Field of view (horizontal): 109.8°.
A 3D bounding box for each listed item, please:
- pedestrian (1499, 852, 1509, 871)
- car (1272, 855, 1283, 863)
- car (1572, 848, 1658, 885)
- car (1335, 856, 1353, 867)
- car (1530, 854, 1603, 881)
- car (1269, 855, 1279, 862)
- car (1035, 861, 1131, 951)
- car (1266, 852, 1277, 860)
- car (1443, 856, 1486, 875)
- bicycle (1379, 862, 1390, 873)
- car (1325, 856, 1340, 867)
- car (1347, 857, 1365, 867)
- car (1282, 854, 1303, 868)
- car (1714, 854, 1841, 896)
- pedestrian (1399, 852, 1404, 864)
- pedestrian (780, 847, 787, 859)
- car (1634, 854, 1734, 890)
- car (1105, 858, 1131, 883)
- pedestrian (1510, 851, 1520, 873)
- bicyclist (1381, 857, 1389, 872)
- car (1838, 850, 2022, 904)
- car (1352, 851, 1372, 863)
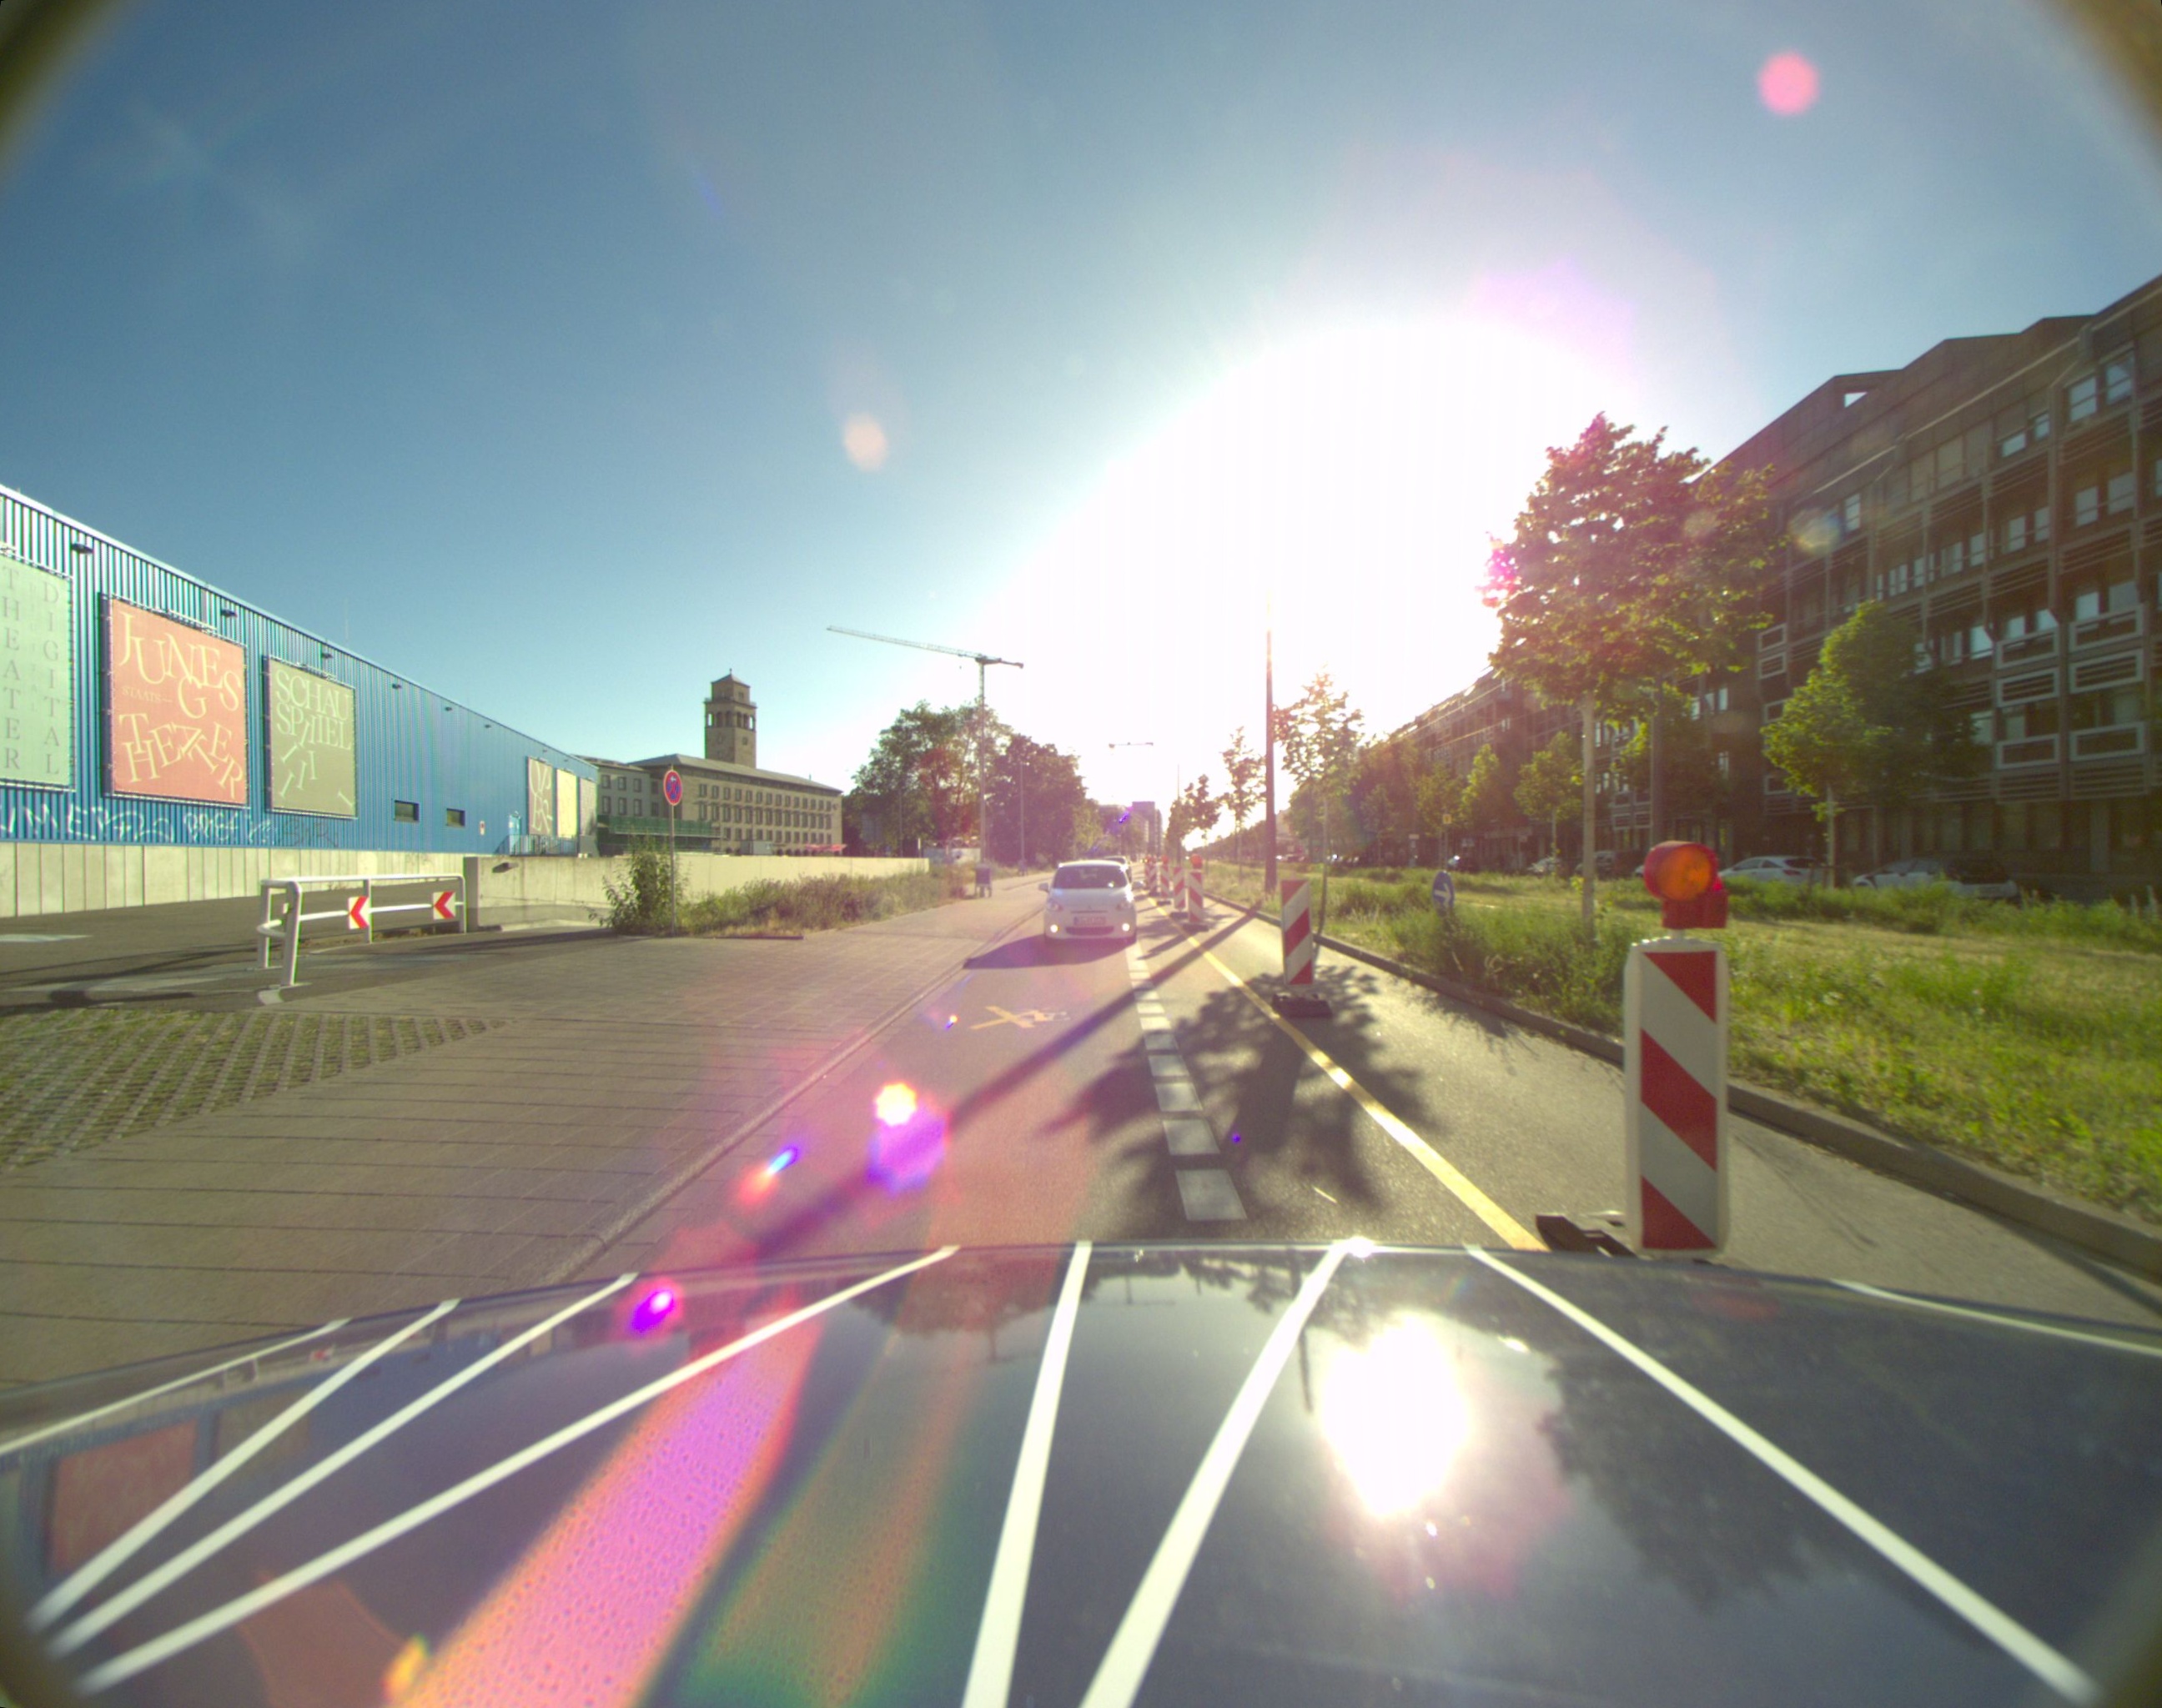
[{"bbox_3d":[33.741,0.593,60.625,0.521,1.569,0.537,0,1,10],"label":"pedestrian"},{"bbox_3d":[36.674,0.961,141.818,1.631,1.487,3.782,0,0,8],"label":"car"},{"bbox_3d":[27.633,0.637,39.478,1.754,1.761,4.333,-2,0,6],"label":"car"},{"bbox_3d":[41.077,1.157,118.717,1.725,1.592,3.634,-2,-2,6],"label":"car"},{"bbox_3d":[28.514,0.777,44.804,1.733,1.460,4.506,-2,0,5],"label":"car"},{"bbox_3d":[38.618,0.960,152.457,1.554,1.371,3.782,0,0,8],"label":"car"},{"bbox_3d":[0.139,0.926,14.918,1.614,1.488,3.395,-2,0,4],"label":"car"},{"bbox_3d":[40.092,0.451,160.308,1.864,1.671,3.782,0,0,8],"label":"car"},{"bbox_3d":[30.162,0.886,59.880,1.719,1.379,4.042,-2,0,8],"label":"car"},{"bbox_3d":[29.869,1.336,74.805,0.566,1.090,1.772,1,0,5],"label":"bicycle"},{"bbox_3d":[40.958,1.230,123.726,1.510,1.592,3.529,-2,0,6],"label":"car"},{"bbox_3d":[40.887,1.201,113.023,1.725,1.477,3.632,0,0,4],"label":"car"},{"bbox_3d":[27.037,0.853,97.155,1.732,1.736,4.122,-1,0,4],"label":"car"},{"bbox_3d":[26.598,0.759,29.200,1.628,1.433,3.821,-2,0,6],"label":"car"},{"bbox_3d":[46.180,0.627,109.607,0.483,1.739,0.639,0,1,8],"label":"pedestrian"},{"bbox_3d":[-33.272,-0.127,85.003,0.572,1.288,0.441,-2,2,22],"label":"pedestrian"},{"bbox_3d":[27.146,0.776,34.382,1.741,1.527,3.886,-1,0,6],"label":"car"},{"bbox_3d":[2.319,0.986,46.843,1.458,1.472,3.529,0,0,5],"label":"car"},{"bbox_3d":[34.510,0.625,60.394,0.521,1.712,0.537,0,1,10],"label":"pedestrian"},{"bbox_3d":[29.857,1.004,74.647,0.566,1.449,0.706,1,0,5],"label":"bicyclist"},{"bbox_3d":[26.428,0.656,23.881,1.652,1.545,3.968,-1,0,7],"label":"car"},{"bbox_3d":[39.710,0.422,107.465,1.725,1.535,3.633,-2,0,6],"label":"car"}]
